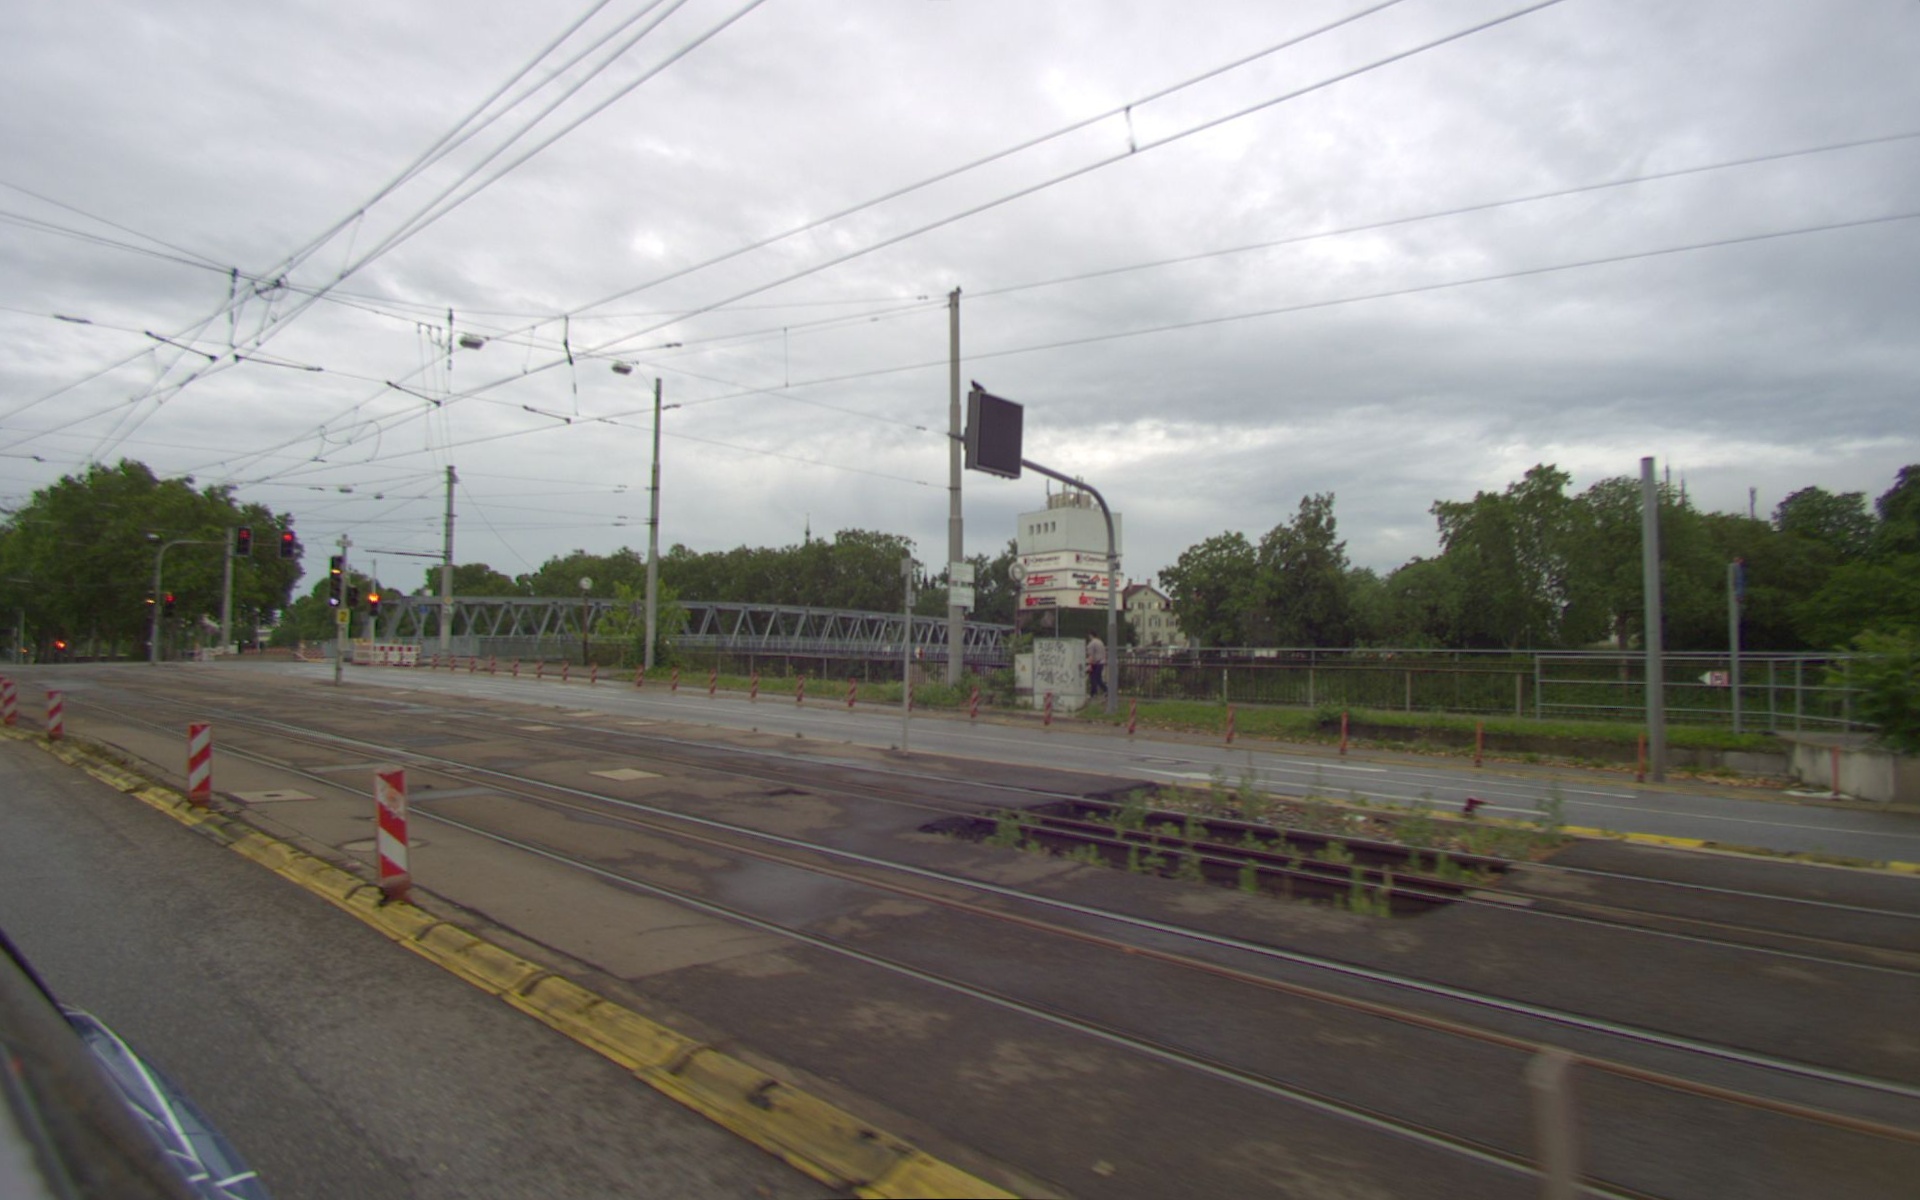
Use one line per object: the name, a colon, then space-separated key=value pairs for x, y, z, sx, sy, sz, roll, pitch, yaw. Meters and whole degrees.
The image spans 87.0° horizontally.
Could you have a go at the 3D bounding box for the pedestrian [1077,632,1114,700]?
pedestrian: x=3.510 y=1.704 z=26.197 sx=0.618 sy=1.701 sz=0.756 roll=-2 pitch=-5 yaw=40
